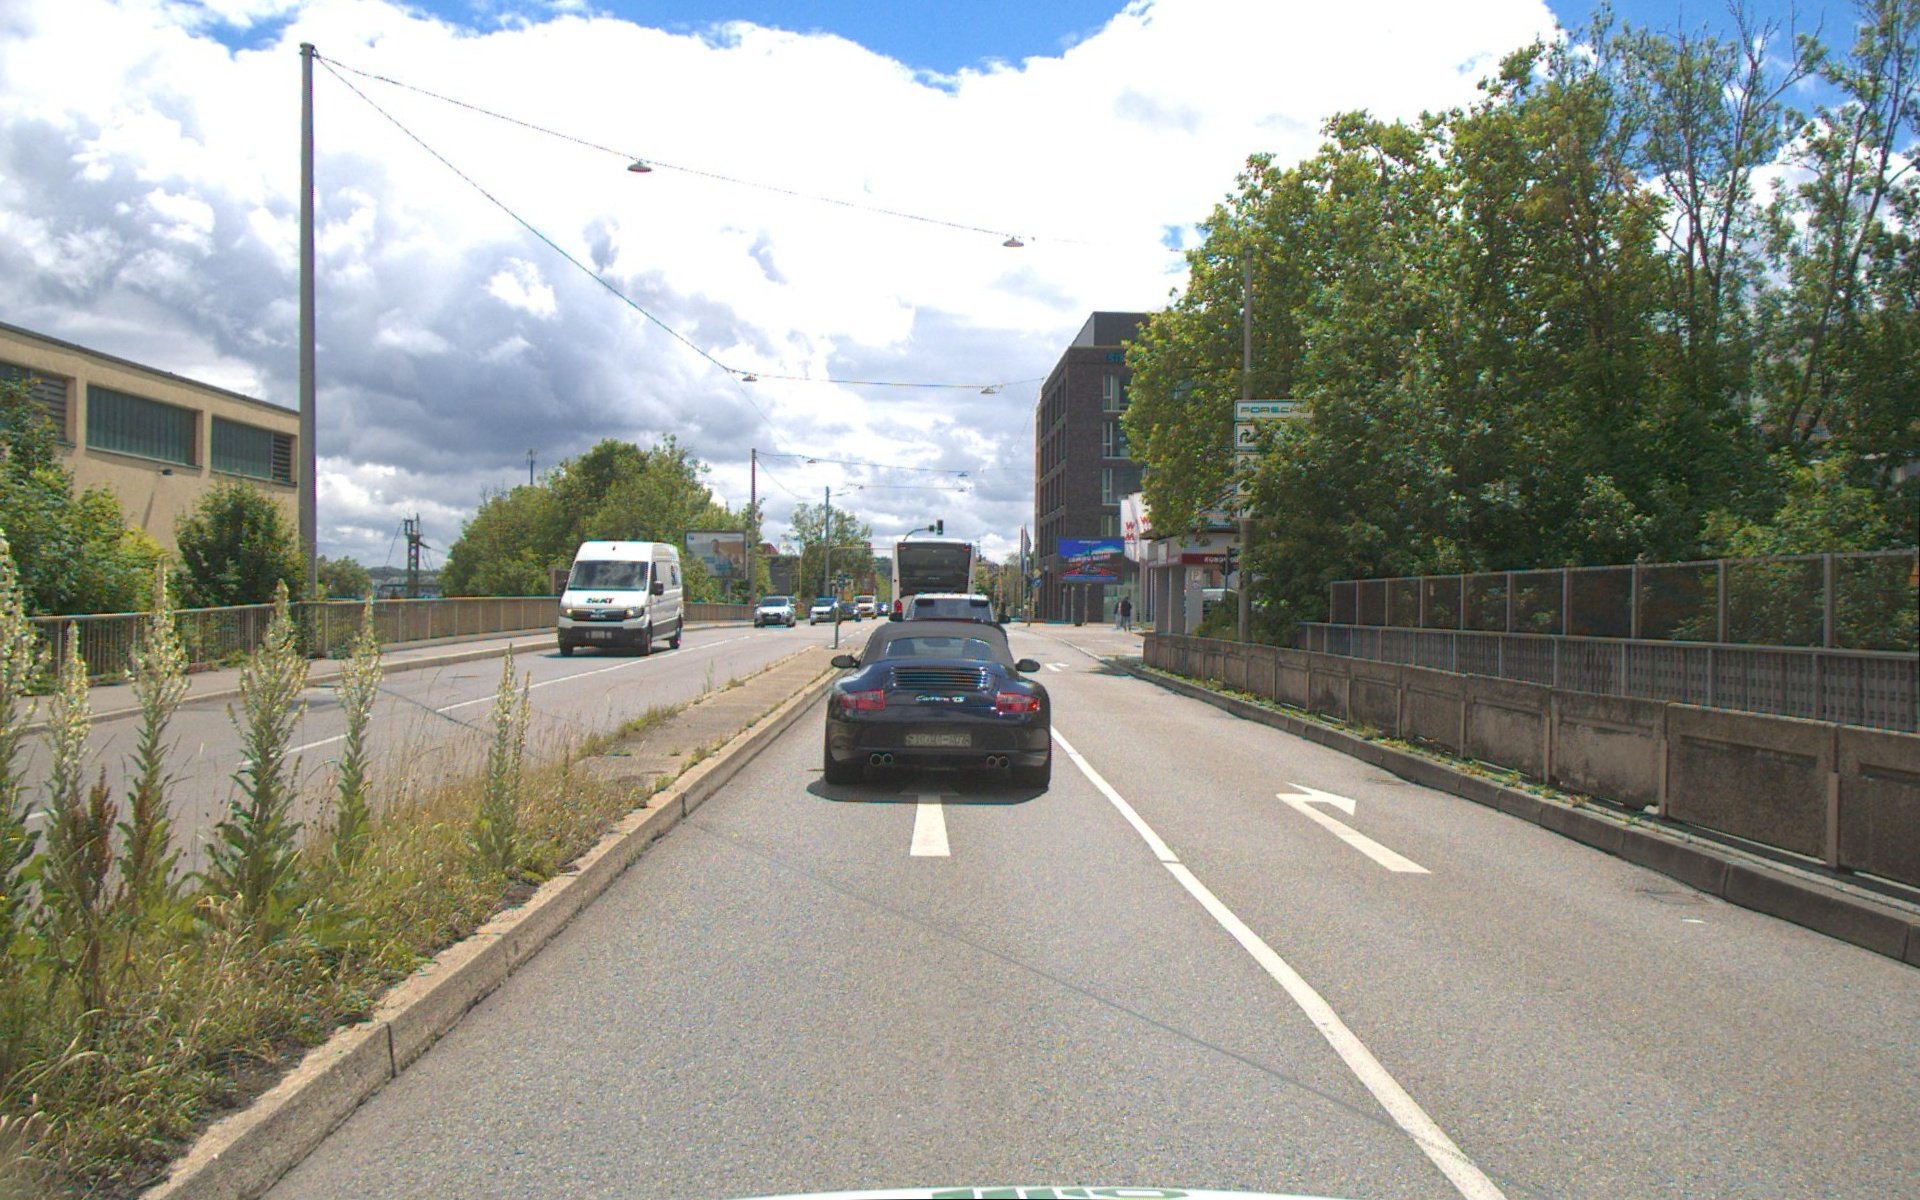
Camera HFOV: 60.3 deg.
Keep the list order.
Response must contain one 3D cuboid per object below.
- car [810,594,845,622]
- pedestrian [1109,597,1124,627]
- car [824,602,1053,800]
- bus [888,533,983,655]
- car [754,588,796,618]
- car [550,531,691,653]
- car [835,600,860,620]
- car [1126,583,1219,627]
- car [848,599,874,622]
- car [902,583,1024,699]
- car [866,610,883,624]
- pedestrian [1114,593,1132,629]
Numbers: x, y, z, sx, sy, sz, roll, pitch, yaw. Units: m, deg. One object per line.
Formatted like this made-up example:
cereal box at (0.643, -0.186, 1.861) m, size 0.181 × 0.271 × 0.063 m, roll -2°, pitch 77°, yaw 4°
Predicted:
car at (-7.778, 0.472, 97.434) m, size 1.773 × 1.587 × 4.206 m, roll 1°, pitch 0°, yaw -2°
pedestrian at (9.035, 0.706, 95.381) m, size 0.693 × 1.726 × 0.924 m, roll 1°, pitch 0°, yaw -4°
car at (-0.201, 0.769, 14.483) m, size 1.685 × 1.297 × 4.088 m, roll 2°, pitch 2°, yaw -1°
bus at (-0.706, -0.417, 54.203) m, size 2.634 × 3.311 × 12.061 m, roll 2°, pitch 3°, yaw 0°
car at (-8.798, 0.149, 79.050) m, size 1.603 × 1.387 × 4.194 m, roll 0°, pitch 0°, yaw -1°
car at (-7.885, -0.192, 39.108) m, size 2.025 × 2.616 × 6.820 m, roll 0°, pitch 0°, yaw -1°
car at (-8.304, 0.748, 122.456) m, size 1.595 × 1.455 × 3.999 m, roll 1°, pitch 0°, yaw -1°
car at (10.097, 0.241, 78.718) m, size 4.144 × 1.970 × 2.029 m, roll -2°, pitch -1°, yaw 0°
car at (-8.428, 0.903, 141.143) m, size 1.863 × 1.920 × 5.312 m, roll -1°, pitch 0°, yaw -1°
car at (0.007, 0.617, 27.727) m, size 1.842 × 1.621 × 4.229 m, roll 2°, pitch 2°, yaw -1°
car at (-9.024, 1.745, 174.579) m, size 1.629 × 1.440 × 3.802 m, roll 1°, pitch 0°, yaw 0°
pedestrian at (7.924, 0.523, 80.377) m, size 0.666 × 1.726 × 0.598 m, roll 1°, pitch 0°, yaw 24°
